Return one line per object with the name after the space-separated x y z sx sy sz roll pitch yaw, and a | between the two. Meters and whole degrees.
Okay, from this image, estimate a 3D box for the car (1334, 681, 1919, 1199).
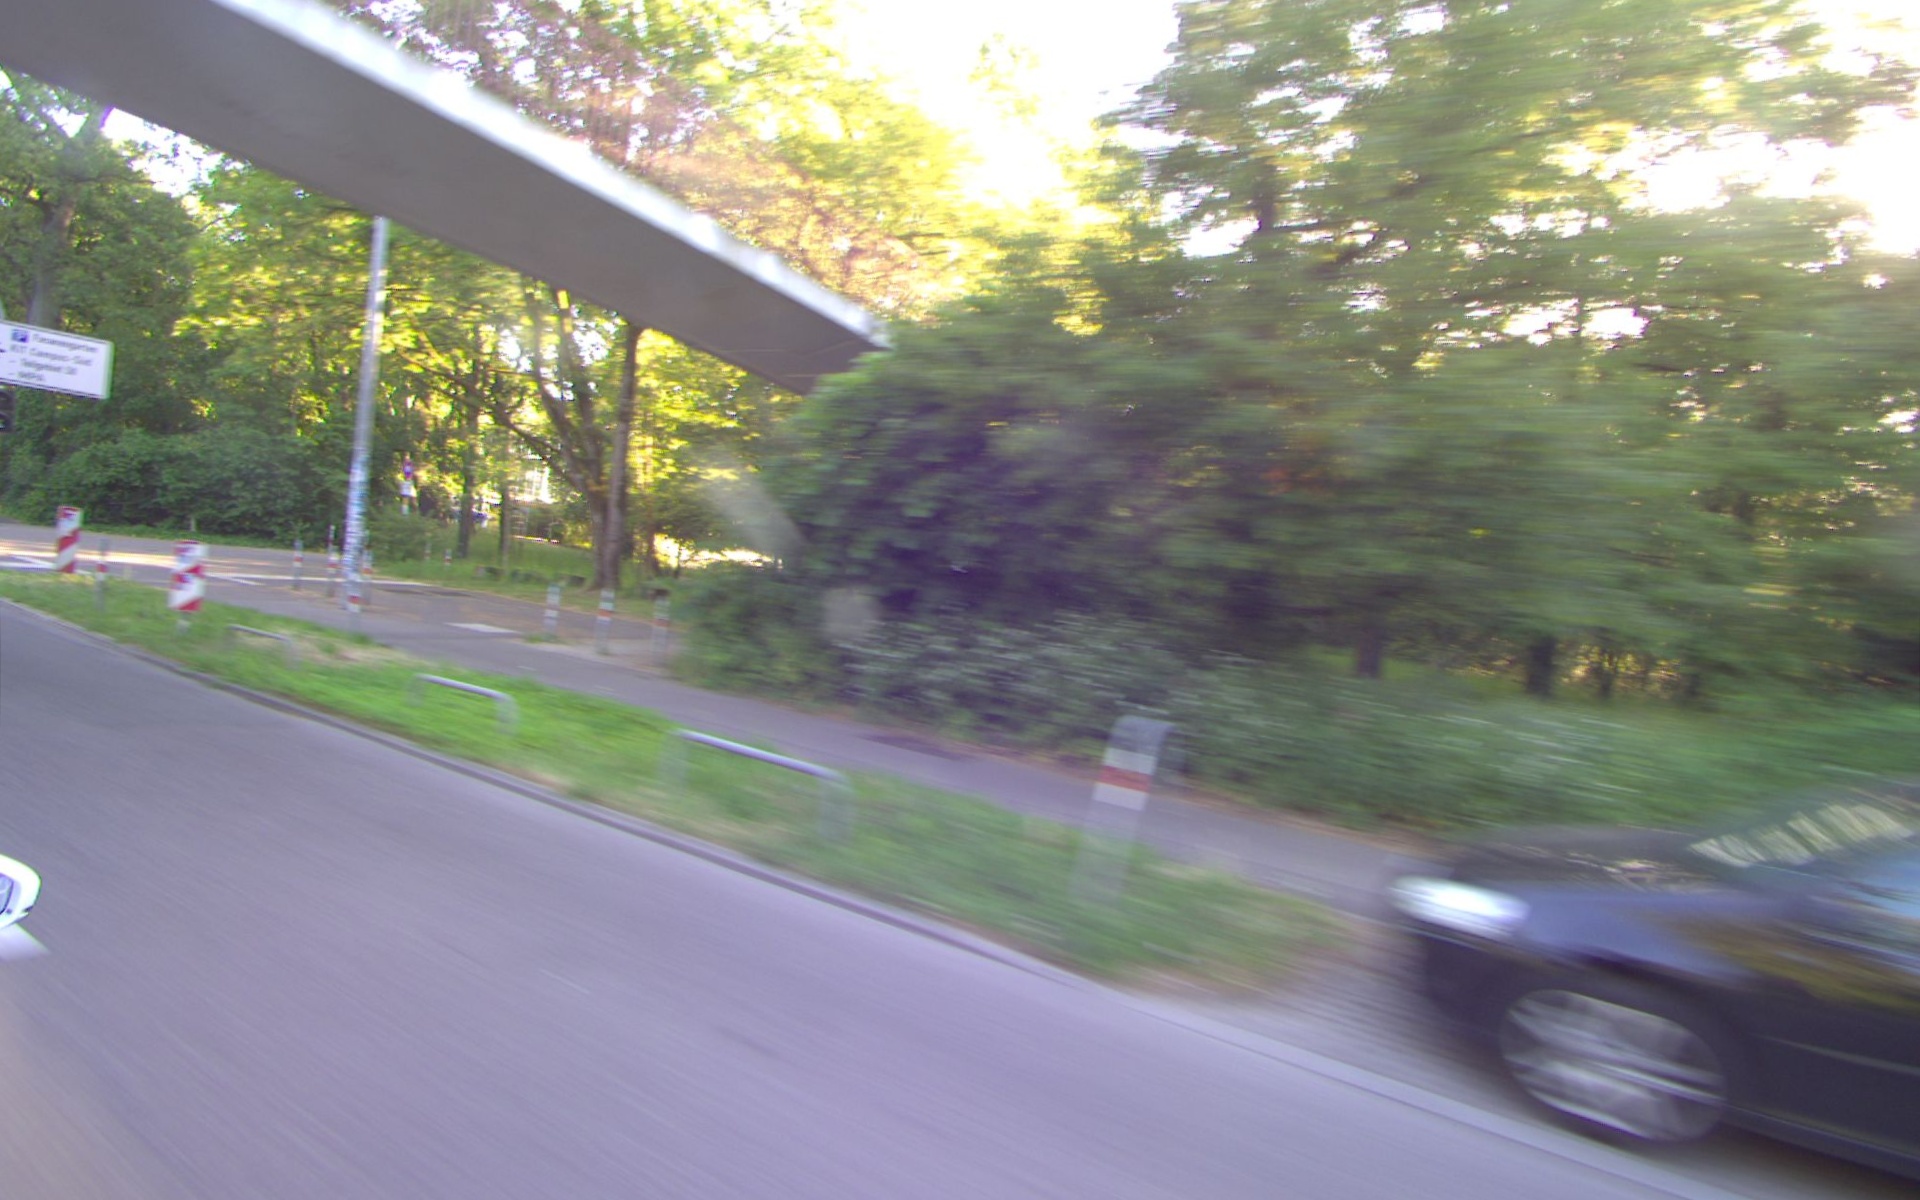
3.882 1.351 3.693 4.315 1.472 1.775 7 1 32 | car
